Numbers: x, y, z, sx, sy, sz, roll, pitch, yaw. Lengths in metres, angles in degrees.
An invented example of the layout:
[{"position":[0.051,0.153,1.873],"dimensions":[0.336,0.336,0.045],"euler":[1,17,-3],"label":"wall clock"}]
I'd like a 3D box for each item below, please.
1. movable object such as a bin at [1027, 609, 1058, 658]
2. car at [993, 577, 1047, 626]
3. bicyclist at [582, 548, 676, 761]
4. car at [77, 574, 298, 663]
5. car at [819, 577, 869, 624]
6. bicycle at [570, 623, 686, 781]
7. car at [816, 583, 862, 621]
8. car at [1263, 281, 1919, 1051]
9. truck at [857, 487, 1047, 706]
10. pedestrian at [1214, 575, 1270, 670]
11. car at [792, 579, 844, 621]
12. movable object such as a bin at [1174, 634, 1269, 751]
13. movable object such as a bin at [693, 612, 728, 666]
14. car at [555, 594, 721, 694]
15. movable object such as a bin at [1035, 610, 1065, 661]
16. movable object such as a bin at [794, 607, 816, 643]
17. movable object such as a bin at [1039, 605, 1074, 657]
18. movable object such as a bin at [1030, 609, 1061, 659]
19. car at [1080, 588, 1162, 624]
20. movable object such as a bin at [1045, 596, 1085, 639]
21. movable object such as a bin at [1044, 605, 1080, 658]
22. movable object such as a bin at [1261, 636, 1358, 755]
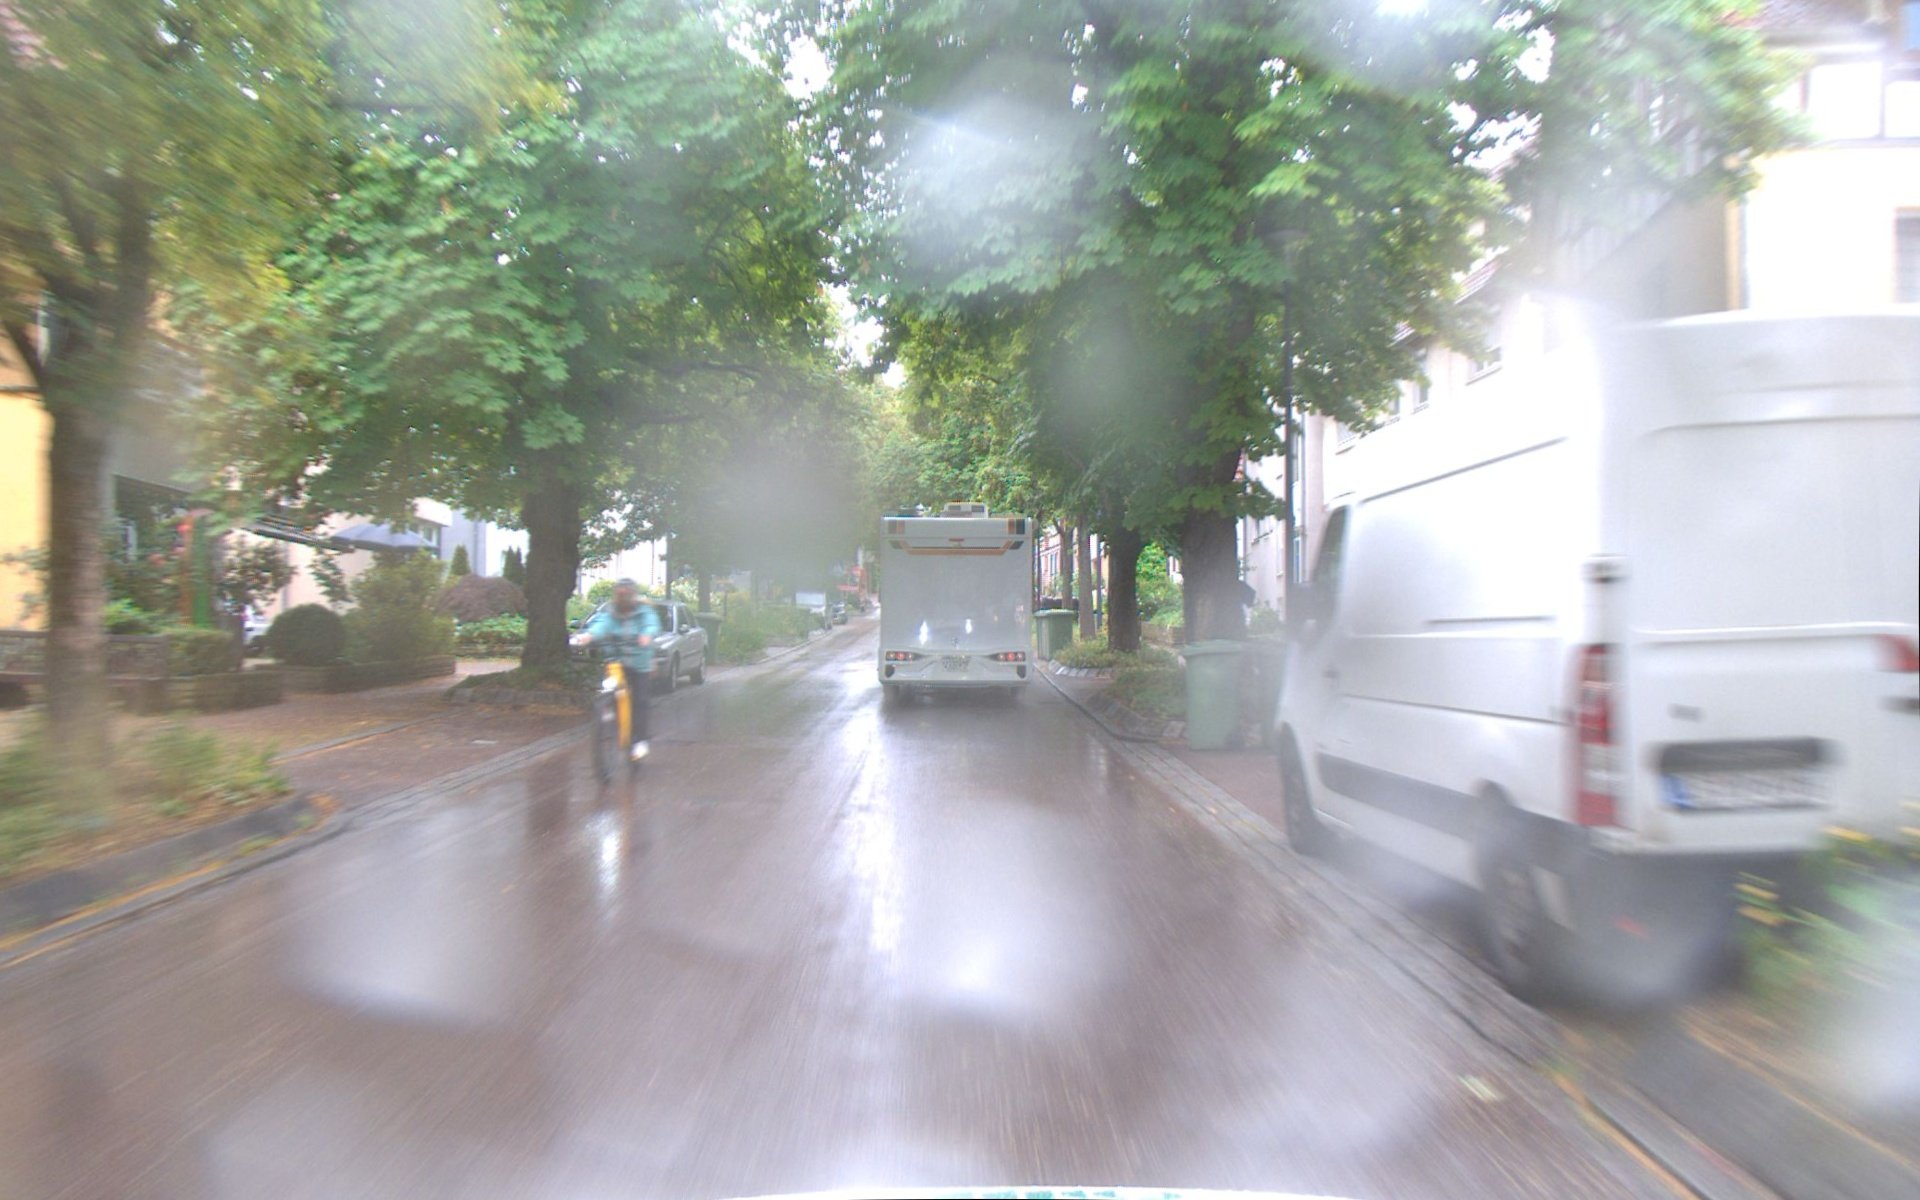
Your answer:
[{"position":[1.850,0.749,37.252],"dimensions":[0.631,1.101,0.540],"euler":[1,0,-5],"label":"movable object such as a bin"},{"position":[2.313,0.054,64.992],"dimensions":[1.875,1.823,4.487],"euler":[1,0,-1],"label":"car"},{"position":[-2.817,0.453,14.137],"dimensions":[0.614,1.761,0.880],"euler":[1,0,-1],"label":"bicyclist"},{"position":[-15.147,0.361,32.558],"dimensions":[3.498,1.503,1.637],"euler":[3,0,-2],"label":"car"},{"position":[-6.601,-0.036,94.593],"dimensions":[2.255,2.526,5.787],"euler":[1,1,2],"label":"car"},{"position":[-2.813,0.829,14.204],"dimensions":[0.614,1.230,1.980],"euler":[1,0,-1],"label":"bicycle"},{"position":[-5.379,0.063,74.012],"dimensions":[1.735,1.580,4.000],"euler":[2,1,-1],"label":"car"},{"position":[3.080,0.222,8.130],"dimensions":[2.097,2.503,5.434],"euler":[1,0,-1],"label":"car"},{"position":[-0.145,-0.052,26.257],"dimensions":[2.639,3.038,6.235],"euler":[1,0,-1],"label":"truck"},{"position":[5.094,0.408,29.813],"dimensions":[0.934,1.681,0.794],"euler":[-1,-1,13],"label":"pedestrian"},{"position":[-5.554,-0.014,65.065],"dimensions":[1.613,1.560,3.866],"euler":[1,1,1],"label":"car"},{"position":[2.554,0.896,16.240],"dimensions":[0.781,1.094,0.878],"euler":[1,0,-1],"label":"movable object such as a bin"},{"position":[-5.207,0.802,34.536],"dimensions":[0.582,1.081,0.545],"euler":[3,0,3],"label":"movable object such as a bin"},{"position":[-5.129,0.650,26.969],"dimensions":[1.736,1.413,4.546],"euler":[2,0,0],"label":"car"},{"position":[1.956,0.768,36.025],"dimensions":[0.597,1.101,0.512],"euler":[1,0,-5],"label":"movable object such as a bin"},{"position":[-4.995,0.803,53.380],"dimensions":[0.629,1.130,0.536],"euler":[0,1,1],"label":"movable object such as a bin"},{"position":[2.074,0.665,35.475],"dimensions":[0.674,1.101,0.540],"euler":[0,0,-5],"label":"movable object such as a bin"},{"position":[1.895,0.756,36.713],"dimensions":[0.618,1.101,0.471],"euler":[1,0,-5],"label":"movable object such as a bin"},{"position":[6.901,0.260,71.030],"dimensions":[3.298,1.455,1.629],"euler":[-1,0,-4],"label":"car"},{"position":[3.252,0.537,51.395],"dimensions":[1.199,1.338,1.134],"euler":[0,0,1],"label":"movable object such as a bin"},{"position":[2.154,0.668,34.907],"dimensions":[0.674,1.101,0.540],"euler":[1,0,-5],"label":"movable object such as a bin"},{"position":[3.369,0.905,16.017],"dimensions":[0.733,1.094,0.878],"euler":[1,0,-1],"label":"movable object such as a bin"}]
